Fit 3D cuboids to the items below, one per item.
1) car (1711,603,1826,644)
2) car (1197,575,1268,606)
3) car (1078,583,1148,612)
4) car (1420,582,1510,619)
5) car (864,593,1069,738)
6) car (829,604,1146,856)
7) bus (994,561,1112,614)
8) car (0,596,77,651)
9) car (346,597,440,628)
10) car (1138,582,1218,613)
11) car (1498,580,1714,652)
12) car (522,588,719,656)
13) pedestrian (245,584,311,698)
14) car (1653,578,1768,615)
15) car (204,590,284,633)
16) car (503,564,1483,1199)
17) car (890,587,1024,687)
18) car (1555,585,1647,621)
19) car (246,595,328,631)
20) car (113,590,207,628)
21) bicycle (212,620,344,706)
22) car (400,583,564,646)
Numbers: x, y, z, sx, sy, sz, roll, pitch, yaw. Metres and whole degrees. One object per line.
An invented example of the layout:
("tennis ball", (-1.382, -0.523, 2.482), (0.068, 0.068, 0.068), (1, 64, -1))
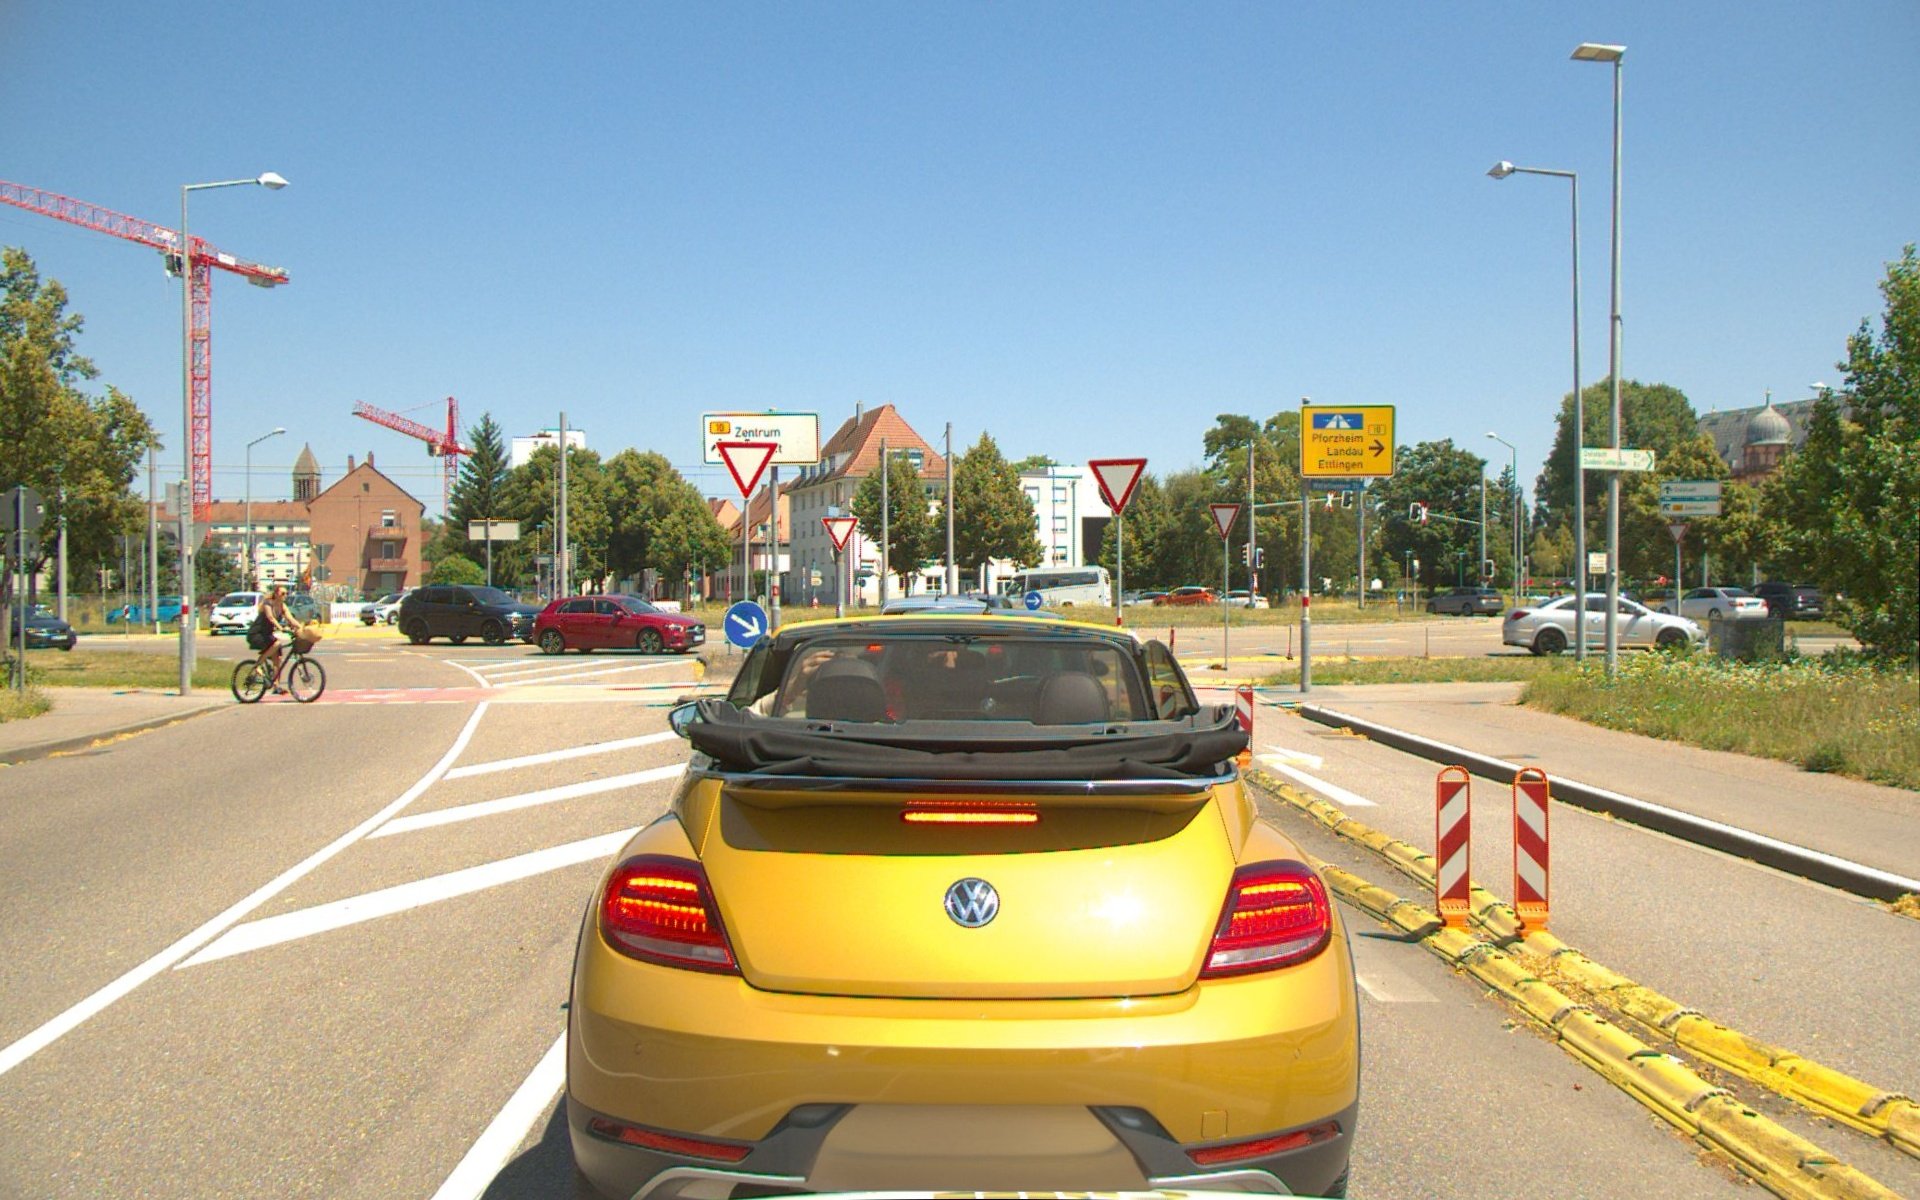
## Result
("car", (34.022, 0.975, 69.702), (1.848, 1.642, 4.306), (1, 0, -20))
("car", (16.518, -0.550, 100.171), (3.907, 1.803, 1.785), (1, 0, 24))
("car", (10.034, -0.153, 108.190), (4.336, 1.766, 1.850), (1, 0, 14))
("car", (25.415, 0.012, 83.407), (1.820, 1.766, 4.407), (1, 0, -26))
("car", (0.039, 0.661, 18.601), (2.023, 1.406, 4.257), (1, 0, -1))
("car", (0.131, 0.754, 11.675), (1.814, 1.389, 4.257), (-1, 0, -1))
("bus", (5.853, -0.796, 103.877), (7.099, 3.228, 2.263), (1, 0, 15))
("car", (-29.240, 0.701, 51.769), (1.715, 1.579, 4.272), (-2, 2, -44))
("car", (-26.729, 0.590, 78.147), (1.693, 1.427, 4.267), (1, 0, 26))
("car", (12.861, -0.147, 97.710), (4.352, 1.766, 1.843), (1, 0, 33))
("car", (14.524, 0.355, 37.445), (4.311, 1.554, 2.002), (-1, 0, 13))
("car", (-8.355, 0.525, 40.820), (4.311, 1.554, 2.001), (1, 0, 15))
("pedestrian", (-10.418, 0.619, 25.273), (0.717, 1.721, 0.575), (1, -1, 9))
("car", (29.885, -0.124, 66.000), (1.720, 1.395, 4.308), (1, 0, -18))
("car", (-27.126, 0.416, 62.780), (1.742, 1.554, 3.866), (-1, 0, -7))
("car", (0.032, 0.712, 5.070), (1.729, 1.507, 4.257), (1, 0, -1))
("car", (-0.080, 0.552, 27.557), (2.023, 1.506, 4.542), (-1, 0, -1))
("car", (33.242, 0.158, 85.870), (1.819, 1.766, 4.409), (1, 0, -25))
("car", (-27.834, 0.532, 68.511), (1.711, 1.395, 4.329), (1, 0, -2))
("car", (-39.638, 0.434, 82.036), (3.926, 1.803, 1.866), (1, 0, -19))
("bicycle", (-10.420, 0.956, 25.279), (1.803, 1.253, 0.614), (-2, -1, 10))
("car", (-13.748, 0.393, 47.553), (4.319, 1.623, 1.999), (1, 3, 27))
